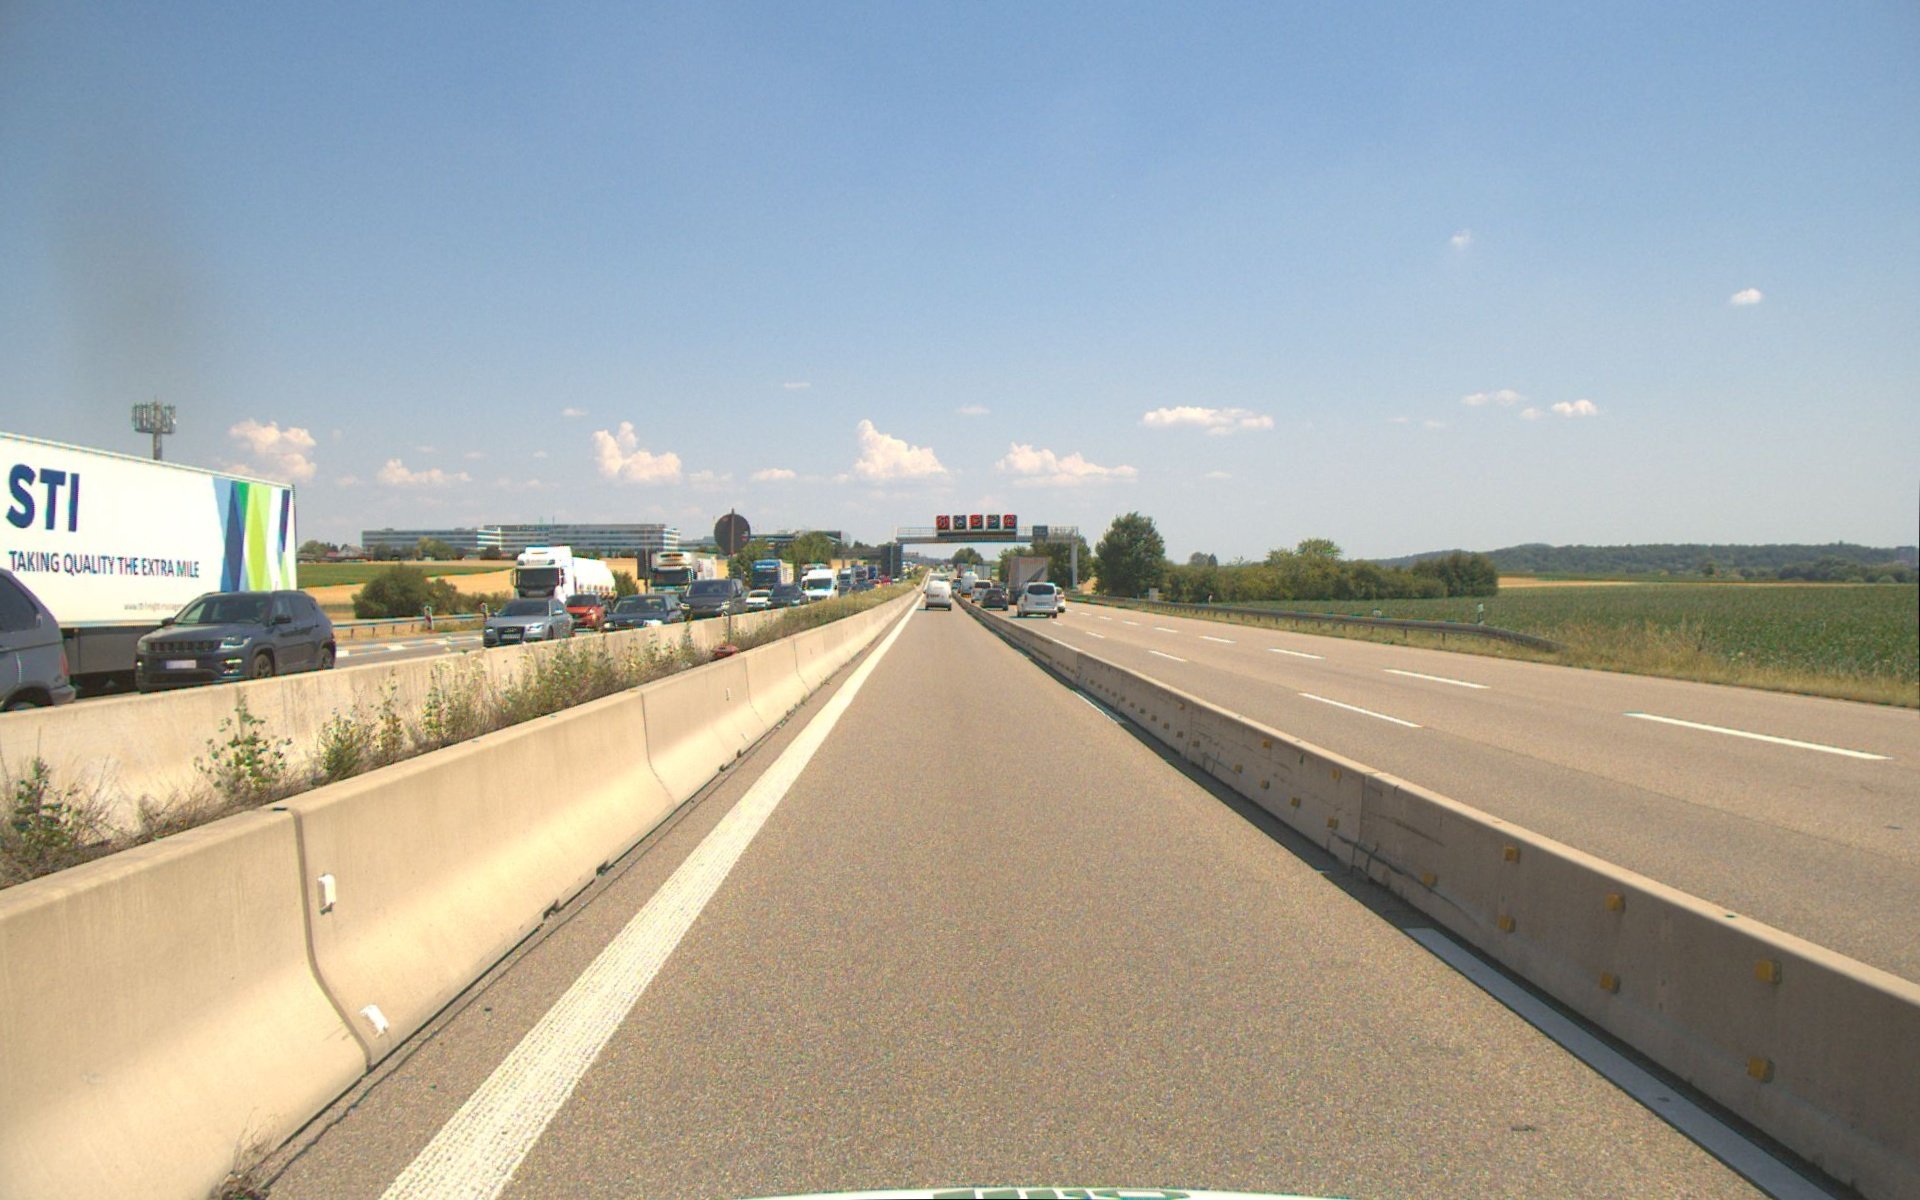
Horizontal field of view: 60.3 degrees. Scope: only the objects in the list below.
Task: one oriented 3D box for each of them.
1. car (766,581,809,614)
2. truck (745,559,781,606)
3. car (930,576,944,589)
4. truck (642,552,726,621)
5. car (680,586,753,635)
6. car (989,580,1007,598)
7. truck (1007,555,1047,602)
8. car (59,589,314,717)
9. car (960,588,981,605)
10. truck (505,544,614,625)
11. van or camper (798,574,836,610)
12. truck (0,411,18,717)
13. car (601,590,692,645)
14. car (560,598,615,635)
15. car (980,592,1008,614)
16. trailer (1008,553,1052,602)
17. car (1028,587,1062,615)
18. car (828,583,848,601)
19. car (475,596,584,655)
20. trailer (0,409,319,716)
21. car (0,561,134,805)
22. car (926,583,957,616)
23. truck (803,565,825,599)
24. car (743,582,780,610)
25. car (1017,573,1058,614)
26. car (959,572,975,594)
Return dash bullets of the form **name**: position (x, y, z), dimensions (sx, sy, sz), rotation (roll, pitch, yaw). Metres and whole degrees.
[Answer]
- **car**: position (-8.656, -0.131, 83.075), dimensions (1.746, 1.617, 4.540), rotation (0, 0, -1)
- **truck**: position (-17.906, -1.573, 150.825), dimensions (2.753, 4.200, 4.840), rotation (-1, 1, -2)
- **car**: position (-3.448, -2.661, 247.932), dimensions (1.953, 1.867, 3.999), rotation (0, 0, -1)
- **truck**: position (-16.113, -0.812, 97.558), dimensions (2.738, 3.672, 13.287), rotation (-2, 0, -1)
- **car**: position (-8.386, 0.325, 57.417), dimensions (1.806, 1.597, 5.343), rotation (0, 0, -1)
- **car**: position (4.451, -1.315, 195.794), dimensions (1.953, 2.049, 3.999), rotation (0, 0, -1)
- **truck**: position (5.851, -1.846, 145.235), dimensions (3.204, 4.036, 4.911), rotation (0, 0, -1)
- **car**: position (-11.210, 0.692, 24.370), dimensions (1.622, 1.680, 4.664), rotation (0, 0, -1)
- **car**: position (0.944, -0.299, 146.081), dimensions (1.737, 1.472, 3.999), rotation (0, 0, -1)
- **truck**: position (-21.164, -0.833, 88.341), dimensions (2.841, 3.842, 13.284), rotation (-3, 1, -2)
- **van or camper**: position (-9.458, -0.555, 109.850), dimensions (1.994, 2.260, 7.206), rotation (1, 1, -1)
- **truck**: position (-15.317, -0.477, 21.890), dimensions (2.812, 4.451, 4.902), rotation (-2, 0, -1)
- **car**: position (-8.179, 0.428, 43.439), dimensions (1.622, 1.375, 4.266), rotation (0, 0, -1)
- **car**: position (-15.878, 0.697, 70.656), dimensions (1.531, 1.542, 3.936), rotation (1, 0, -1)
- **car**: position (2.262, 0.202, 111.579), dimensions (1.737, 1.472, 3.999), rotation (0, 0, -1)
- **trailer**: position (5.934, -1.853, 141.138), dimensions (3.211, 4.036, 9.110), rotation (0, 0, -1)
- **car**: position (5.513, 0.060, 107.565), dimensions (1.953, 1.825, 3.999), rotation (0, 0, -1)
- **car**: position (-10.737, -0.743, 145.751), dimensions (1.565, 1.494, 4.532), rotation (-1, 1, -1)
- **car**: position (-11.859, 0.667, 45.907), dimensions (1.809, 1.508, 4.921), rotation (0, 0, -1)
- **trailer**: position (-15.434, -0.533, 29.752), dimensions (2.834, 4.451, 12.990), rotation (-2, 0, -1)
- **car**: position (-7.371, 0.555, 10.546), dimensions (1.852, 1.645, 4.820), rotation (0, 0, -1)
- **car**: position (-1.221, -0.037, 107.539), dimensions (1.953, 2.049, 3.999), rotation (0, 0, -1)
- **truck**: position (-18.150, -2.204, 206.154), dimensions (2.362, 4.158, 4.659), rotation (-1, 1, -1)
- **car**: position (-12.783, -0.281, 106.736), dimensions (1.848, 1.739, 5.519), rotation (-2, 1, -3)
- **car**: position (4.201, -0.344, 89.672), dimensions (1.953, 2.157, 3.999), rotation (0, 0, -1)
- **car**: position (0.783, -1.969, 187.897), dimensions (1.737, 2.434, 3.999), rotation (0, 0, -1)
